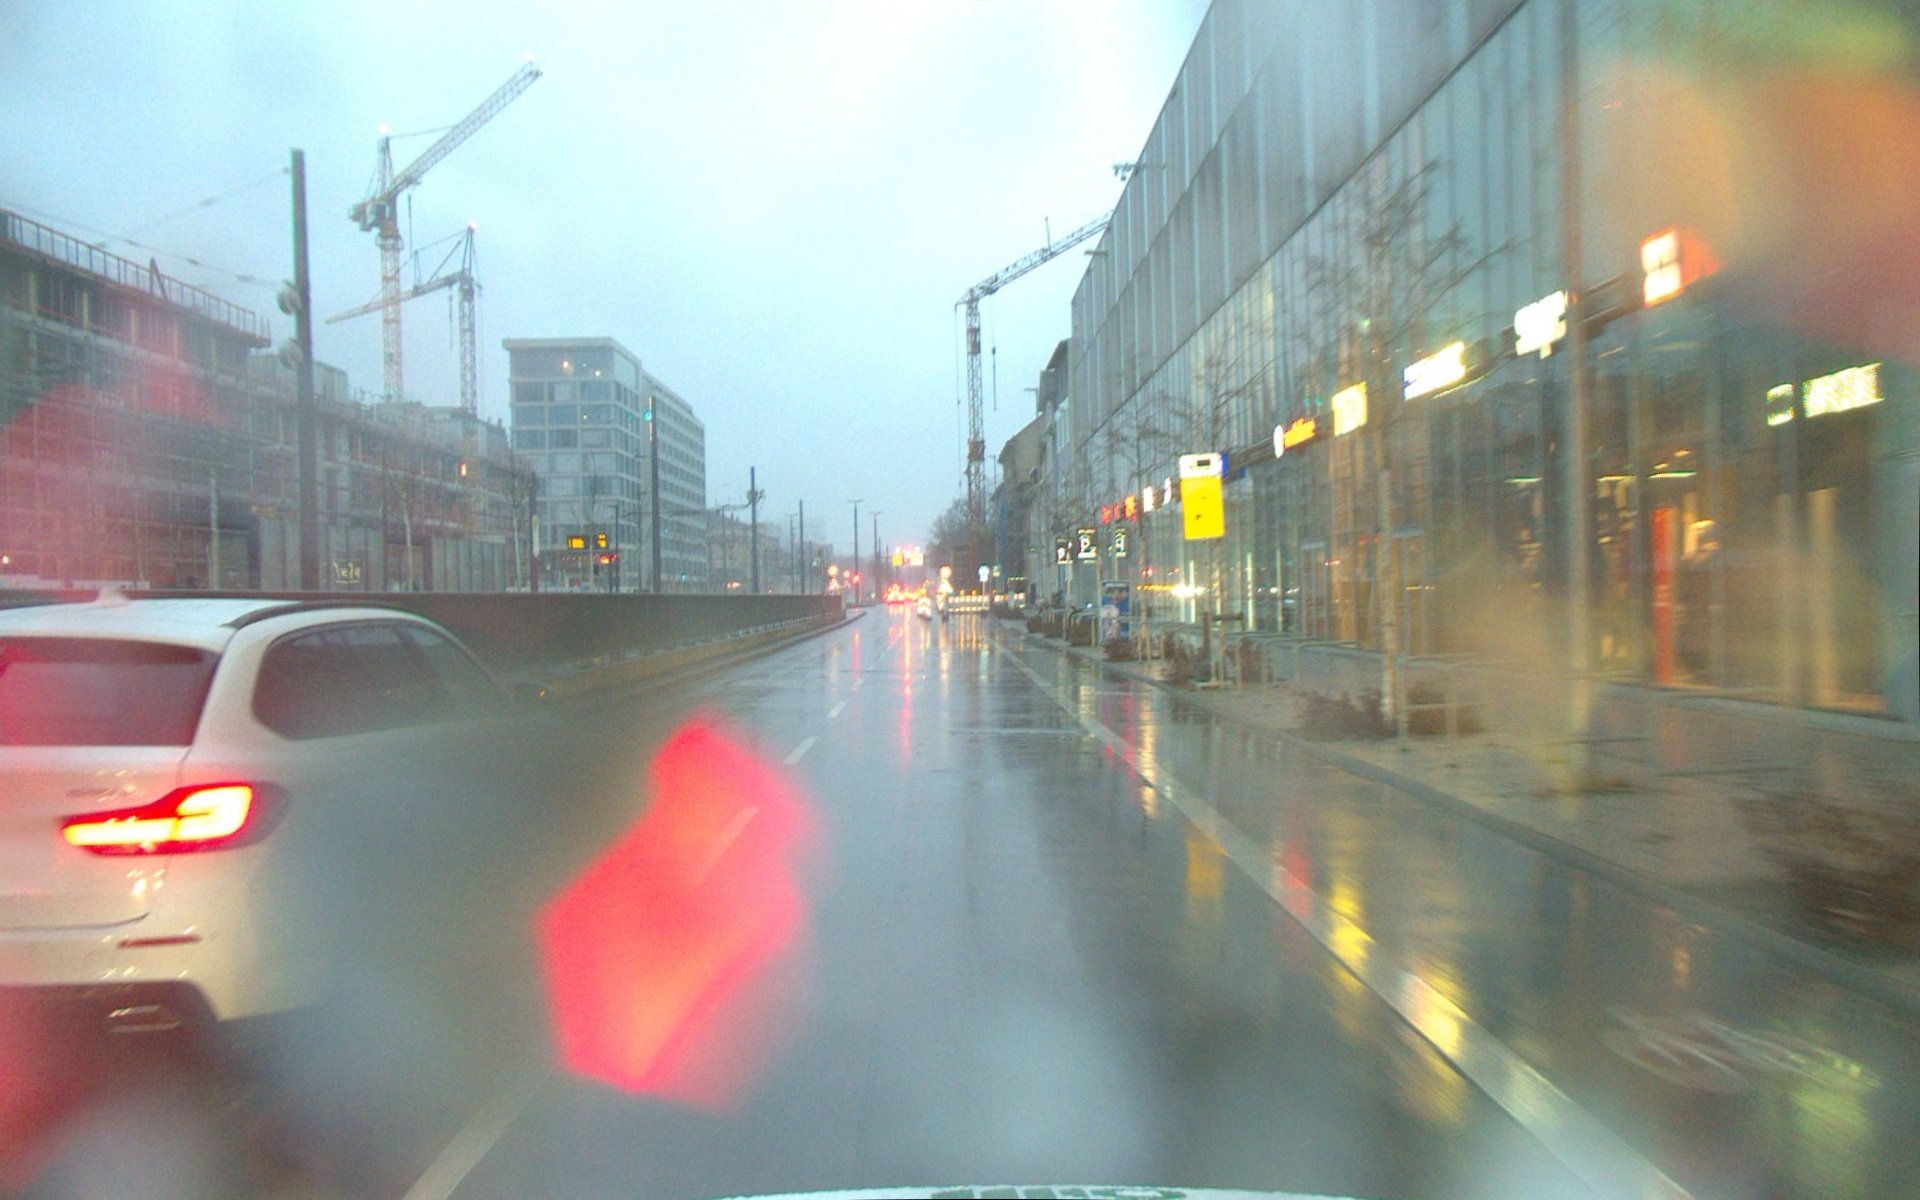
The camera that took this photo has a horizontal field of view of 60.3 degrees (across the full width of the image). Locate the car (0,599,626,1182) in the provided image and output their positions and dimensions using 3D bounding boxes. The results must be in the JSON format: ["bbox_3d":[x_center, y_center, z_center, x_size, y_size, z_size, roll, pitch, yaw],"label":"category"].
[{"bbox_3d":[-2.767,0.750,6.731,1.814,1.491,4.946,0,0,0],"label":"car"}]

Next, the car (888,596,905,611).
[{"bbox_3d":[-7.240,0.406,188.805,1.862,1.670,3.999,0,0,-1],"label":"car"}]

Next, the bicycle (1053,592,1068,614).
[{"bbox_3d":[6.079,0.188,100.109,0.669,1.243,1.904,-4,0,-2],"label":"bicycle"}]

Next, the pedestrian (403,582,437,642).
[{"bbox_3d":[-14.302,0.324,43.788,0.571,1.577,0.741,0,0,9],"label":"pedestrian"}]
